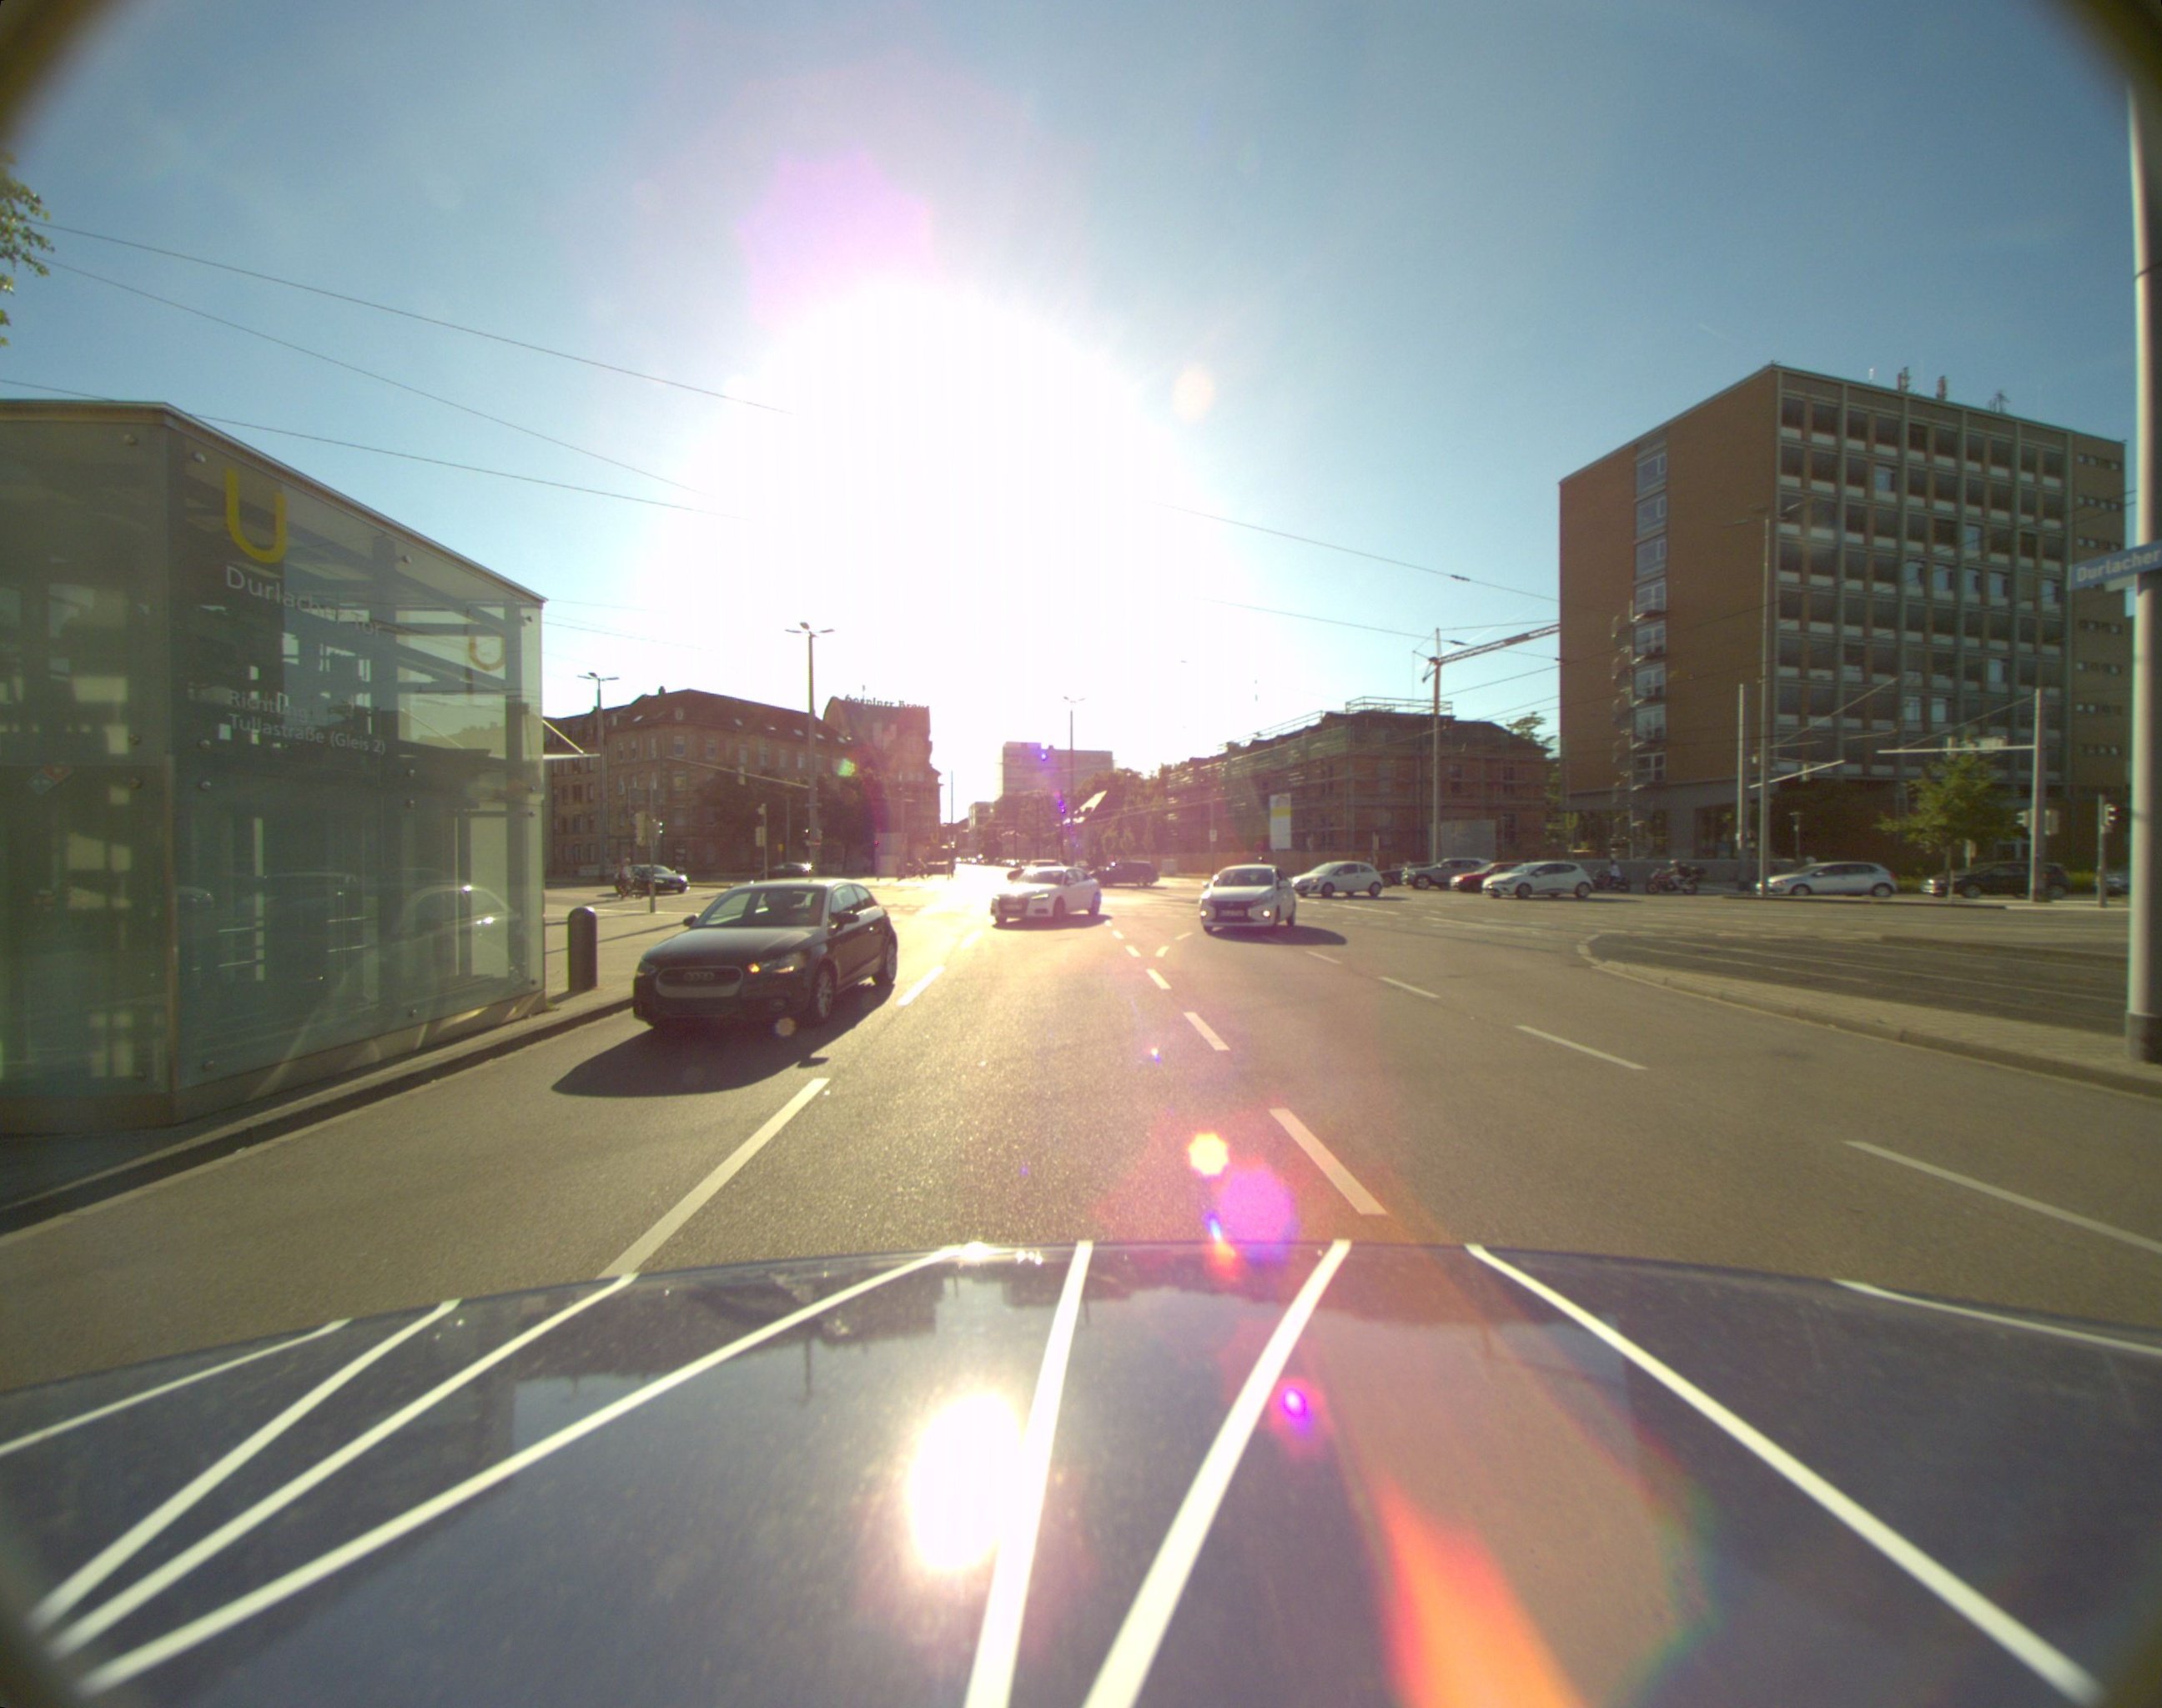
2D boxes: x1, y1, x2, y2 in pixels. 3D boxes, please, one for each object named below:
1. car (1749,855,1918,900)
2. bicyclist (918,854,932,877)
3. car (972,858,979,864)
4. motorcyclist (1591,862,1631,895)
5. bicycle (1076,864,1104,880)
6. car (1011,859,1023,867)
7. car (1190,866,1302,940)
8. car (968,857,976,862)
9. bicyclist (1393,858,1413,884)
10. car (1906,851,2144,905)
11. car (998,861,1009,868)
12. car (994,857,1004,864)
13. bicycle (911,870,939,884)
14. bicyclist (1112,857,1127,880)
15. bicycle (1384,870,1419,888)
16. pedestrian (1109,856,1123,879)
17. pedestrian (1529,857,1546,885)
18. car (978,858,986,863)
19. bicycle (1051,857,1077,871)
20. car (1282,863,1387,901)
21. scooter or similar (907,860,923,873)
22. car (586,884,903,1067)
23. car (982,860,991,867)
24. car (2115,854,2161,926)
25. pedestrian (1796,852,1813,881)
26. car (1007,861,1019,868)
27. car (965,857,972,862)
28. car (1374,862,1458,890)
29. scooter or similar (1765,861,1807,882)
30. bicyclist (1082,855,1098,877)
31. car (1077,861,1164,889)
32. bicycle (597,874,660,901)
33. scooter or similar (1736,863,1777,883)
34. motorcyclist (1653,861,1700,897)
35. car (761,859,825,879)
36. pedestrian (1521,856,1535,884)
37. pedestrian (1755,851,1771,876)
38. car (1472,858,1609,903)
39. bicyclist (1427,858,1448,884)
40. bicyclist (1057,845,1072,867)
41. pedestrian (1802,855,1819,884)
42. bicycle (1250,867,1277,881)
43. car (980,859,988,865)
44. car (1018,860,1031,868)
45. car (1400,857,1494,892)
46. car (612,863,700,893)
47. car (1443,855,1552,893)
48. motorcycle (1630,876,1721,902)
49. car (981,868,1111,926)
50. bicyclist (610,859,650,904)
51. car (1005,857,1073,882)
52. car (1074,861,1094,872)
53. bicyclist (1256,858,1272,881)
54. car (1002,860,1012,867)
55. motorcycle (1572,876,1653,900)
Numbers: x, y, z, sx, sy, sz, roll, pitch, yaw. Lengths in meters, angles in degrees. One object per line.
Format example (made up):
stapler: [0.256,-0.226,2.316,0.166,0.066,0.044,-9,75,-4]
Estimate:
car: [29.312,0.874,29.776,4.274,1.666,2.003,0,0,19]
bicyclist: [-11.975,0.886,58.214,0.975,1.685,0.767,1,-1,-9]
car: [-31.636,2.105,228.094,1.757,1.455,4.015,-1,-2,-15]
motorcyclist: [27.499,1.268,39.431,1.451,1.657,1.120,0,-2,19]
bicycle: [0.631,1.315,55.064,1.899,1.116,0.649,0,-2,14]
car: [-12.947,1.855,154.096,1.757,1.455,4.015,-1,-2,-15]
car: [3.935,1.039,17.625,1.717,1.483,3.878,1,0,25]
car: [-33.550,1.754,233.507,1.757,1.455,4.015,-1,-2,-15]
bicyclist: [19.900,1.039,46.915,1.014,1.579,0.695,2,4,33]
car: [37.409,0.957,30.361,5.753,2.001,2.004,0,-3,19]
car: [-17.453,2.277,171.565,1.757,1.455,4.015,-1,-2,-15]
car: [-19.467,1.624,180.607,1.757,1.455,4.015,-1,-2,-15]
bicycle: [-11.955,1.754,58.216,2.106,1.021,0.767,1,-1,-9]
bicyclist: [2.831,1.096,55.934,0.973,1.651,0.649,0,-2,11]
bicycle: [19.809,1.557,47.027,1.874,0.965,0.713,2,4,33]
pedestrian: [2.808,1.094,60.885,0.817,1.837,0.693,-1,-3,44]
pedestrian: [28.744,1.042,47.853,0.732,1.730,0.622,0,2,9]
car: [-27.808,1.801,212.729,1.757,1.455,4.015,-1,-2,-15]
bicycle: [-1.291,0.781,58.769,1.902,1.021,0.649,0,-1,23]
car: [10.650,1.130,31.983,3.919,1.455,1.781,0,1,-20]
scooter or similar: [-14.503,1.090,66.258,0.732,1.193,1.442,1,-1,-41]
car: [-3.319,1.114,8.392,1.694,1.380,3.832,-2,0,1]
car: [-24.896,2.487,200.665,1.757,1.595,4.015,-1,-2,-15]
car: [28.191,0.869,17.817,4.456,1.723,1.944,0,0,14]
pedestrian: [40.323,0.686,42.361,0.504,1.625,0.428,1,-2,5]
car: [-14.261,2.204,159.030,1.757,1.455,4.015,-1,-2,-15]
car: [-36.123,1.798,243.915,1.757,1.455,4.015,-1,-2,-15]
car: [18.569,1.220,42.268,4.011,1.455,1.758,-1,0,15]
scooter or similar: [43.335,1.073,46.723,0.802,1.239,1.825,3,-3,-43]
bicyclist: [0.652,0.853,55.075,0.973,1.559,0.649,0,-2,14]
car: [2.288,1.163,43.805,4.644,1.484,1.820,0,2,18]
bicycle: [-20.696,1.519,34.787,2.525,1.117,1.035,0,2,18]
scooter or similar: [41.736,1.191,46.939,0.801,1.239,1.704,2,-3,-29]
motorcyclist: [28.332,1.182,36.164,1.451,1.657,1.120,0,-2,19]
car: [-22.013,1.153,58.117,4.642,1.483,1.821,0,-1,25]
pedestrian: [28.029,1.006,47.685,0.620,1.730,0.667,1,2,40]
pedestrian: [45.661,0.645,50.870,0.504,1.625,0.574,1,-2,5]
car: [18.206,1.015,30.232,4.281,1.666,1.999,0,0,-3]
bicyclist: [23.243,1.085,49.534,1.014,1.579,0.695,3,5,41]
bicyclist: [-1.290,0.176,58.780,0.972,1.685,0.649,0,-1,22]
pedestrian: [43.298,0.911,45.089,0.623,1.700,0.487,-1,-3,33]
bicycle: [13.648,1.459,56.774,1.875,0.965,0.713,1,4,21]
car: [-26.548,2.128,207.968,1.757,1.455,4.015,-1,-2,-15]
car: [-11.040,2.060,148.762,1.757,1.455,4.015,-1,-2,-15]
car: [18.476,1.022,38.583,3.992,1.597,2.002,-1,2,16]
car: [-21.523,1.163,38.447,3.989,1.444,2.004,0,0,27]
car: [19.268,0.966,35.292,3.997,1.673,2.001,1,-2,0]
motorcycle: [28.238,1.665,36.162,3.225,1.187,1.120,0,-3,19]
car: [-0.812,1.089,20.822,1.822,1.380,4.465,0,-1,22]
bicyclist: [-20.628,1.252,34.773,1.142,2.002,1.035,0,2,18]
car: [-2.735,0.985,49.331,4.010,1.456,1.758,0,3,18]
car: [0.347,1.787,105.469,1.757,1.455,4.015,-1,-2,-15]
bicyclist: [13.677,1.163,56.754,1.014,1.699,0.695,1,4,22]
car: [-16.265,2.077,166.804,1.757,1.455,4.015,-1,-2,-15]
motorcycle: [27.503,1.737,39.391,3.225,1.187,1.120,0,-3,19]
